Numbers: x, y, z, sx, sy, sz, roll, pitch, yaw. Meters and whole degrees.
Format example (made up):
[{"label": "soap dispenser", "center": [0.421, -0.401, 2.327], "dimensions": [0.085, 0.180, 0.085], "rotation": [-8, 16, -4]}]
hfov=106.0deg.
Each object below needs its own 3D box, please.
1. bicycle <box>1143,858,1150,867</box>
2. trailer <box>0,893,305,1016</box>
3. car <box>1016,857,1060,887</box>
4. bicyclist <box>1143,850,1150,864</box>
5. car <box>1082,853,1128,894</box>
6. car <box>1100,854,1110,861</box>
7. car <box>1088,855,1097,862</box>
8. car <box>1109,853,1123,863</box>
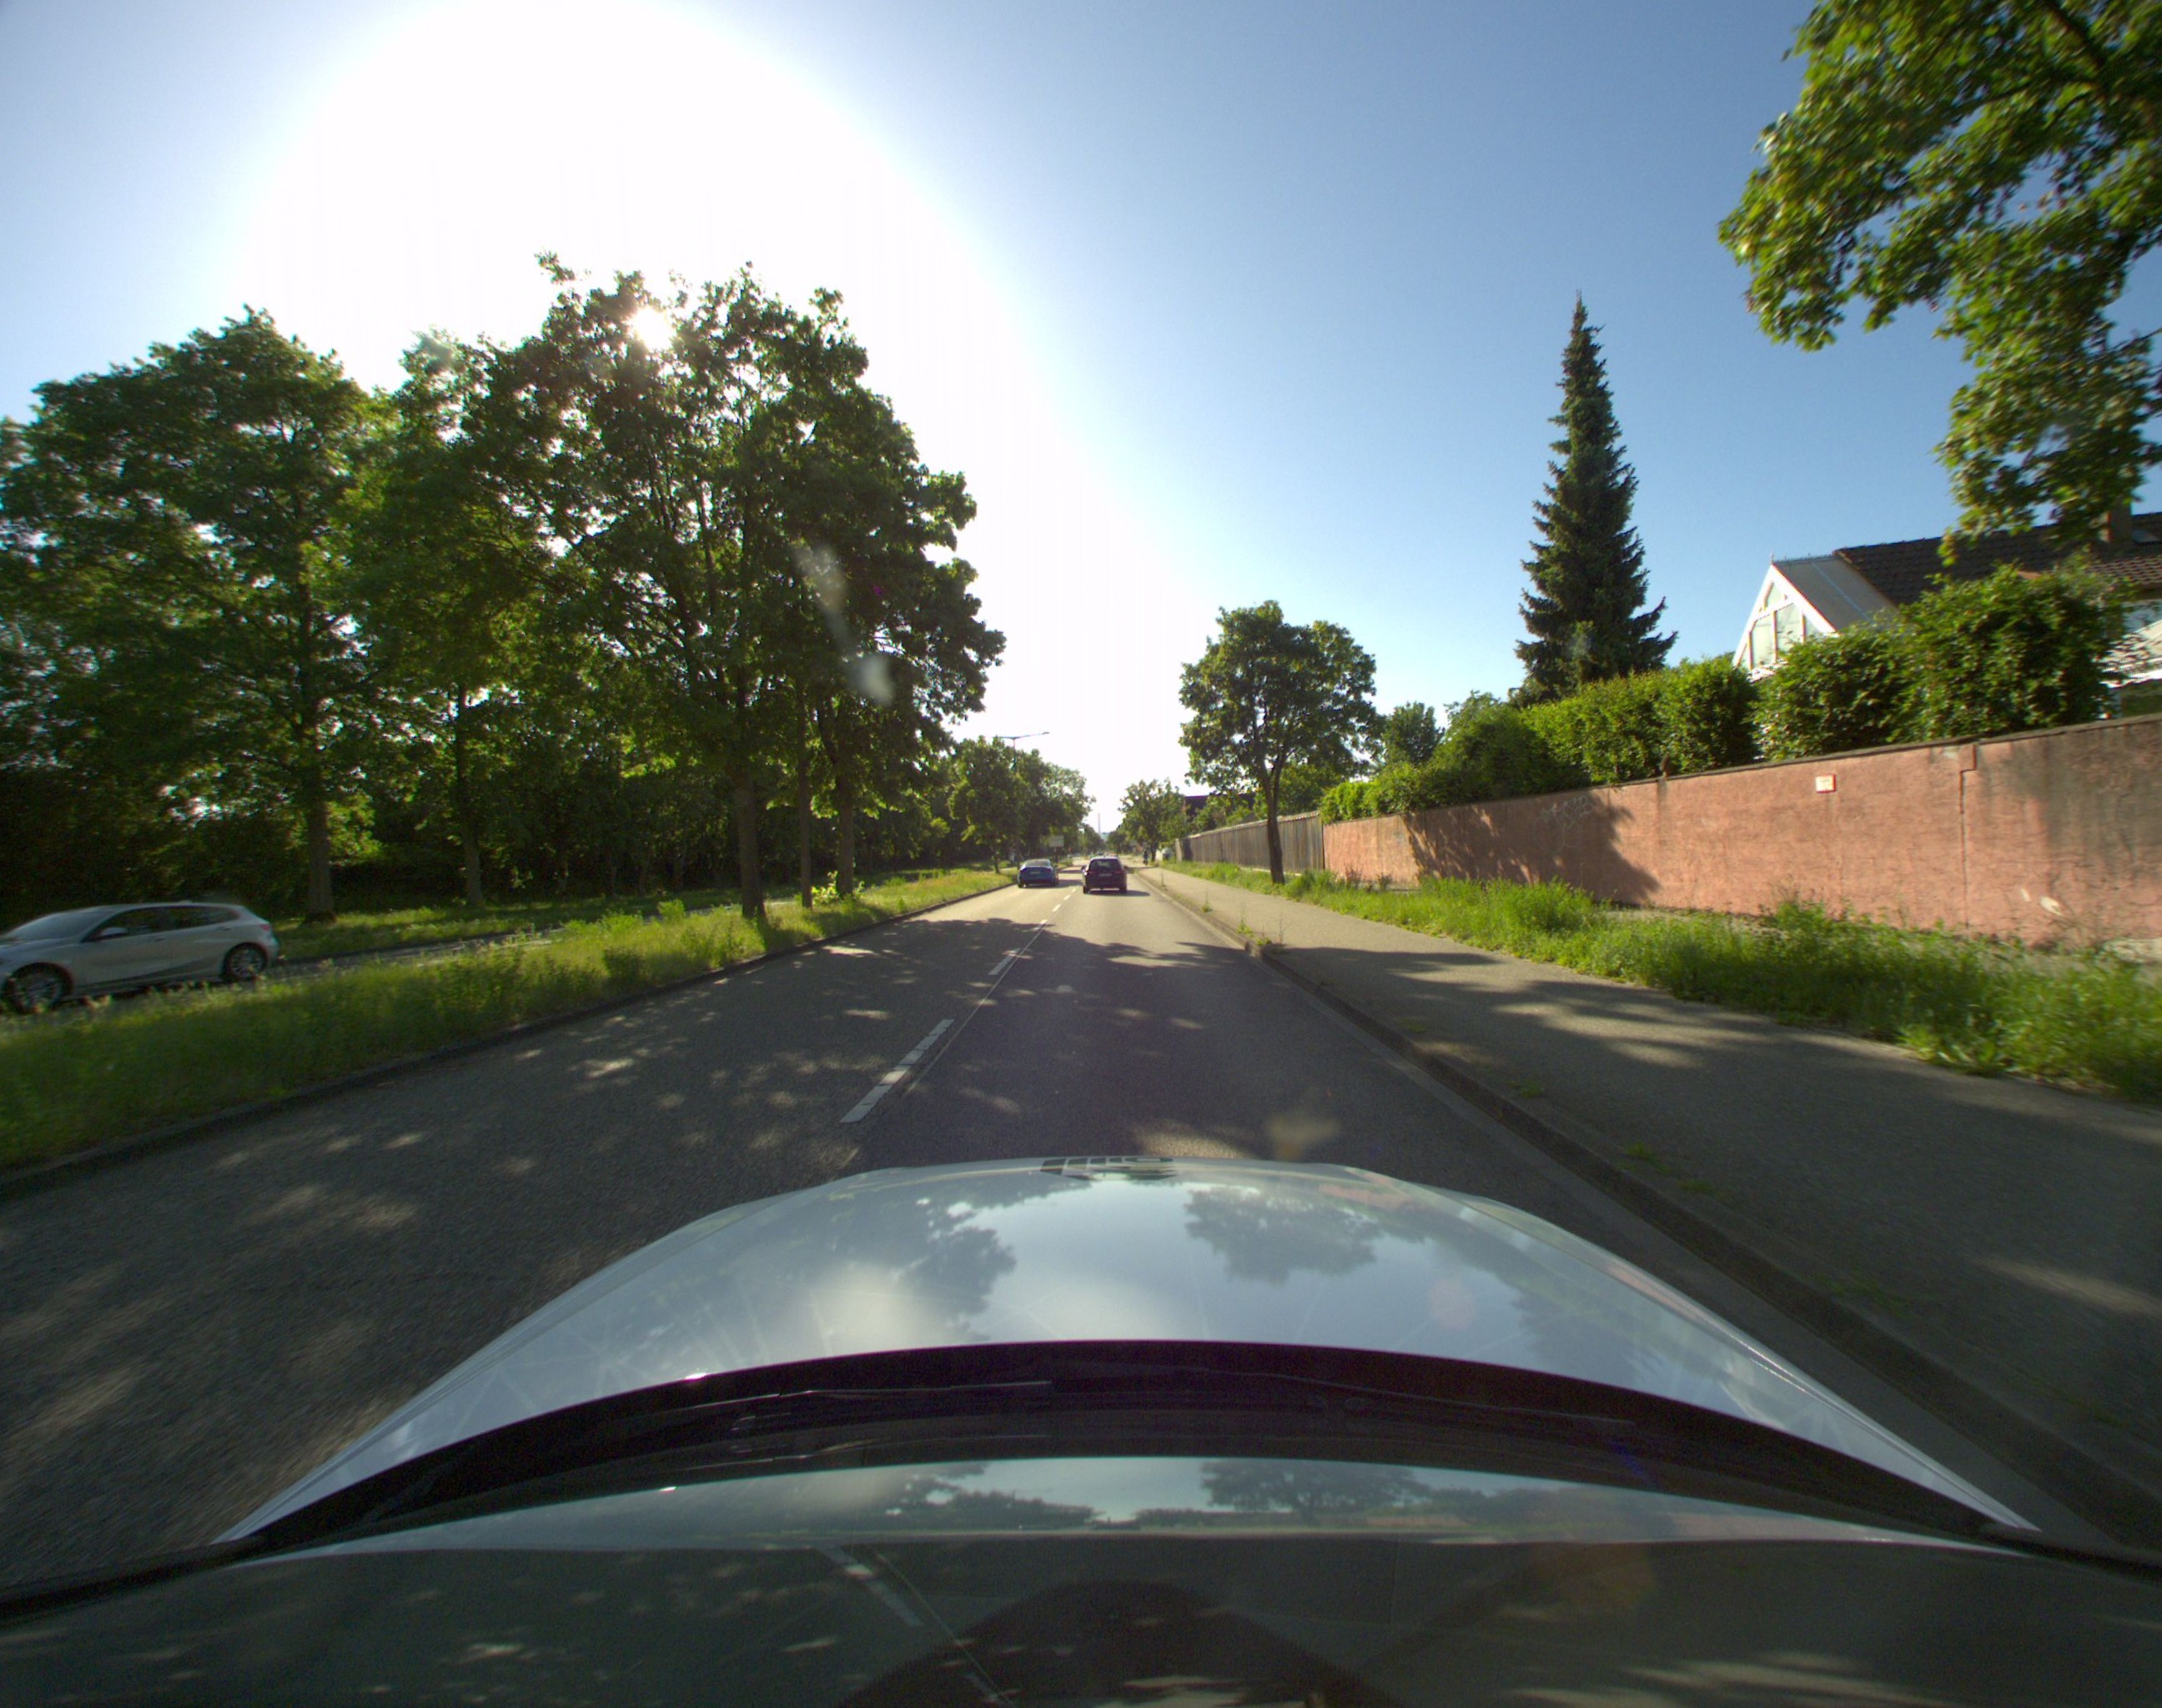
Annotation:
[{"label": "bicycle", "center": [6.643, 0.861, 82.878], "dimensions": [0.653, 0.892, 1.875], "rotation": [-2, 0, 2]}, {"label": "trailer", "center": [-15.153, 1.493, 12.616], "dimensions": [1.734, 1.424, 4.499], "rotation": [-4, 0, 2]}, {"label": "car", "center": [-2.167, 0.913, 42.140], "dimensions": [1.988, 1.405, 4.000], "rotation": [-2, 0, 1]}, {"label": "bicyclist", "center": [6.648, 0.314, 82.906], "dimensions": [0.678, 1.418, 0.812], "rotation": [-2, 0, 1]}, {"label": "car", "center": [1.037, 0.748, 33.390], "dimensions": [1.753, 1.559, 4.003], "rotation": [0, 0, 3]}, {"label": "car", "center": [5.117, 0.692, 172.040], "dimensions": [1.971, 1.440, 4.001], "rotation": [-2, 1, 1]}, {"label": "car", "center": [2.738, 1.081, 197.934], "dimensions": [1.973, 1.440, 3.997], "rotation": [-2, 1, -2]}, {"label": "car", "center": [5.680, 0.693, 132.629], "dimensions": [1.971, 1.440, 4.001], "rotation": [-2, 1, 1]}]
